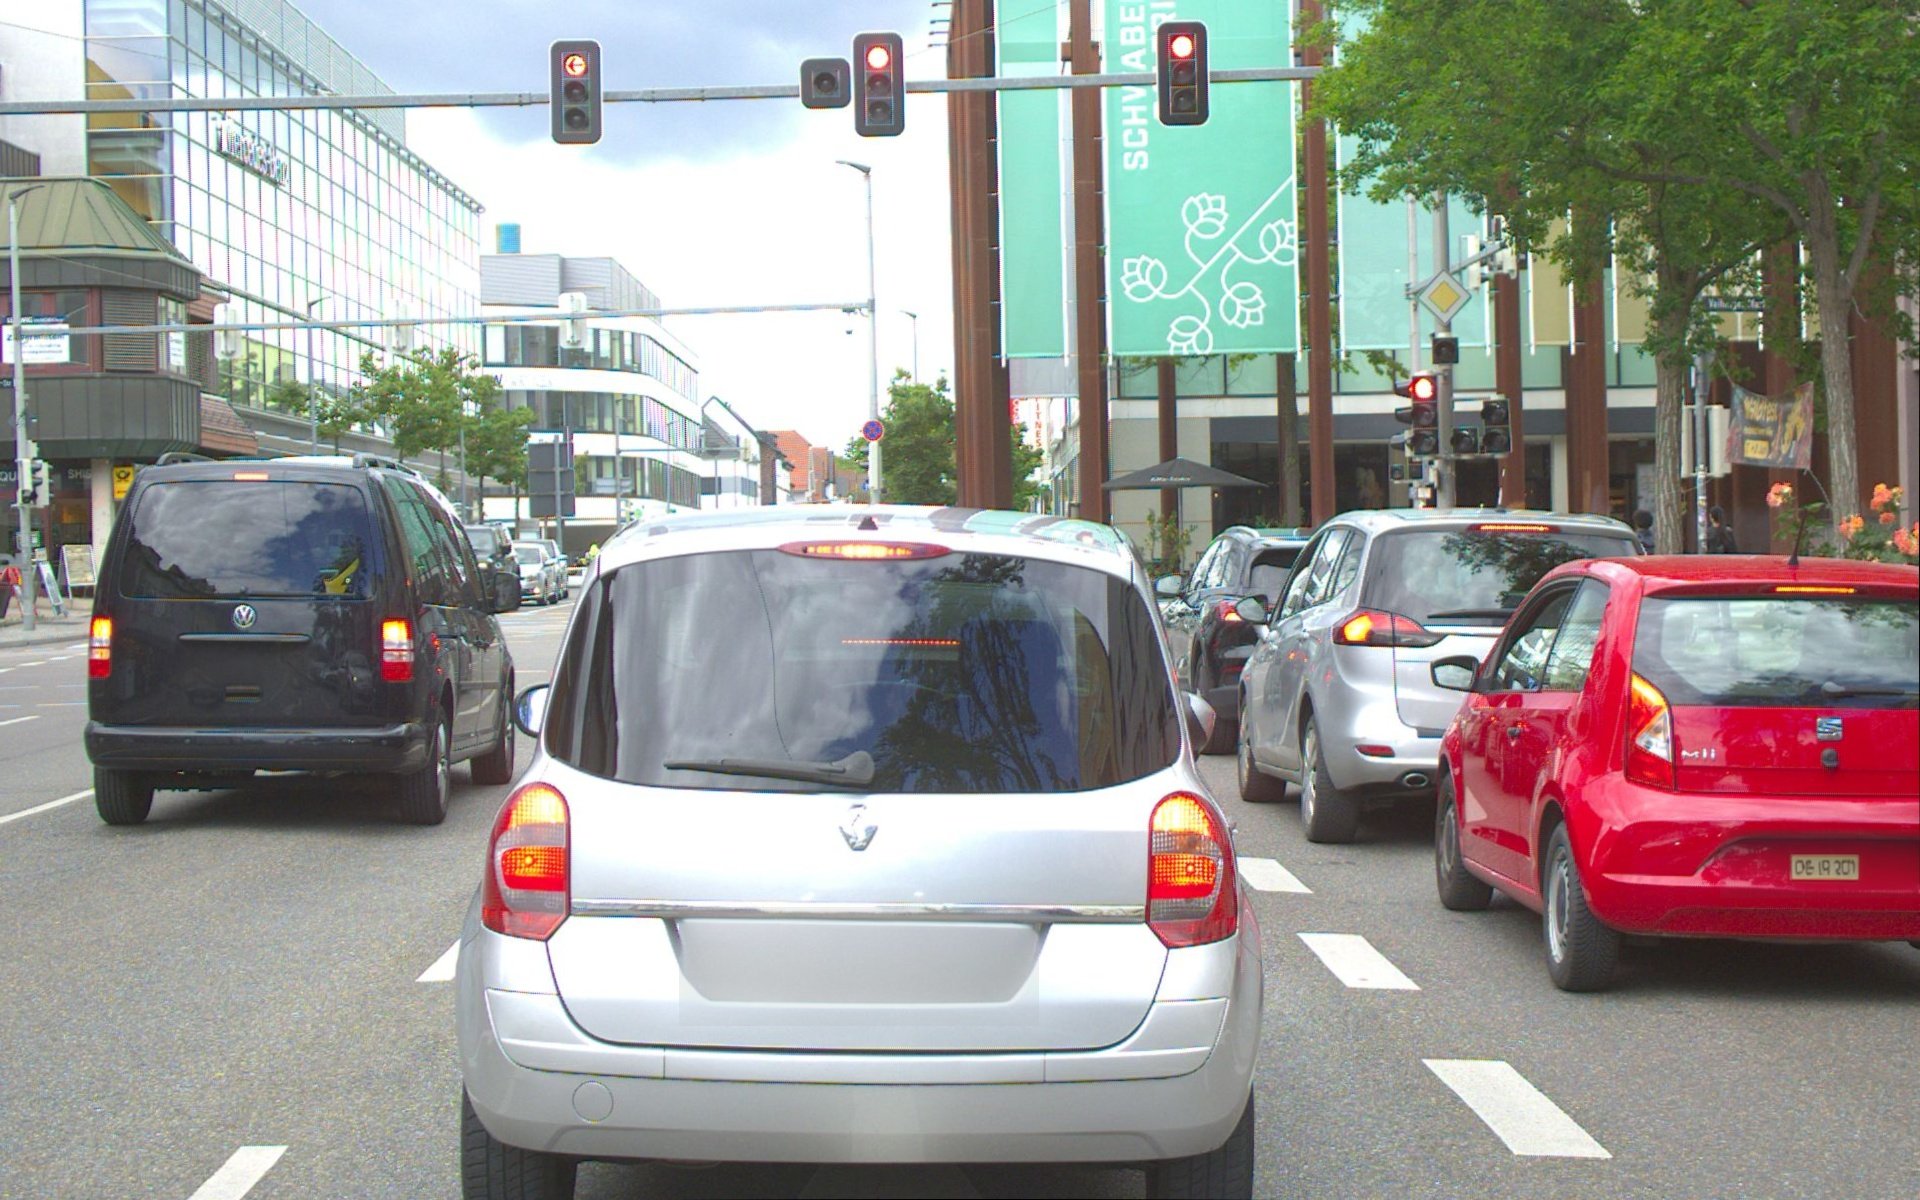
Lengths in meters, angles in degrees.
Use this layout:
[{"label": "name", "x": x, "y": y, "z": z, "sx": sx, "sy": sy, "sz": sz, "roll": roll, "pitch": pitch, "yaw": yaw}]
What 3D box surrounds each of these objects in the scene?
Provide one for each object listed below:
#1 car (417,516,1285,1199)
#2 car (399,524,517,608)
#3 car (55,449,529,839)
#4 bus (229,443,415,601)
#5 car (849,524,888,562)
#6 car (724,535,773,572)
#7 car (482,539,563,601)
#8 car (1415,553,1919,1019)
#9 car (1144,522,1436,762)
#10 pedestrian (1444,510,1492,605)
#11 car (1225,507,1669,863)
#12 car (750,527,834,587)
[{"label": "car", "x": -0.234, "y": 0.573, "z": 8.233, "sx": 1.640, "sy": 1.522, "sz": 3.394, "roll": 0, "pitch": 1, "yaw": -1}, {"label": "car", "x": -10.523, "y": -0.736, "z": 72.327, "sx": 1.993, "sy": 1.700, "sz": 4.065, "roll": -1, "pitch": 1, "yaw": -2}, {"label": "car", "x": -3.493, "y": 0.166, "z": 18.804, "sx": 1.744, "sy": 1.849, "sz": 4.634, "roll": 1, "pitch": 1, "yaw": -1}, {"label": "bus", "x": -13.857, "y": -1.699, "z": 75.296, "sx": 2.686, "sy": 3.250, "sz": 8.654, "roll": -1, "pitch": 1, "yaw": -2}, {"label": "car", "x": -4.785, "y": -3.016, "z": 179.929, "sx": 1.993, "sy": 1.942, "sz": 4.951, "roll": -1, "pitch": 1, "yaw": -2}, {"label": "car", "x": -9.039, "y": -1.994, "z": 147.335, "sx": 1.801, "sy": 1.535, "sz": 4.065, "roll": 0, "pitch": 1, "yaw": 1}, {"label": "car", "x": -10.178, "y": -0.707, "z": 80.134, "sx": 1.555, "sy": 1.387, "sz": 3.288, "roll": -1, "pitch": 1, "yaw": -2}, {"label": "car", "x": 2.709, "y": 0.572, "z": 12.565, "sx": 1.586, "sy": 1.438, "sz": 3.348, "roll": 1, "pitch": 1, "yaw": -1}, {"label": "car", "x": 2.333, "y": 0.248, "z": 25.150, "sx": 1.586, "sy": 1.589, "sz": 3.868, "roll": 1, "pitch": 1, "yaw": -2}, {"label": "pedestrian", "x": 8.949, "y": -0.753, "z": 60.574, "sx": 0.651, "sy": 1.645, "sz": 0.559, "roll": -1, "pitch": 1, "yaw": -15}, {"label": "car", "x": 2.421, "y": 0.359, "z": 17.974, "sx": 1.586, "sy": 1.628, "sz": 3.917, "roll": 1, "pitch": 1, "yaw": -2}, {"label": "car", "x": -4.820, "y": -1.258, "z": 99.291, "sx": 1.917, "sy": 1.671, "sz": 4.242, "roll": 0, "pitch": 1, "yaw": 4}]
